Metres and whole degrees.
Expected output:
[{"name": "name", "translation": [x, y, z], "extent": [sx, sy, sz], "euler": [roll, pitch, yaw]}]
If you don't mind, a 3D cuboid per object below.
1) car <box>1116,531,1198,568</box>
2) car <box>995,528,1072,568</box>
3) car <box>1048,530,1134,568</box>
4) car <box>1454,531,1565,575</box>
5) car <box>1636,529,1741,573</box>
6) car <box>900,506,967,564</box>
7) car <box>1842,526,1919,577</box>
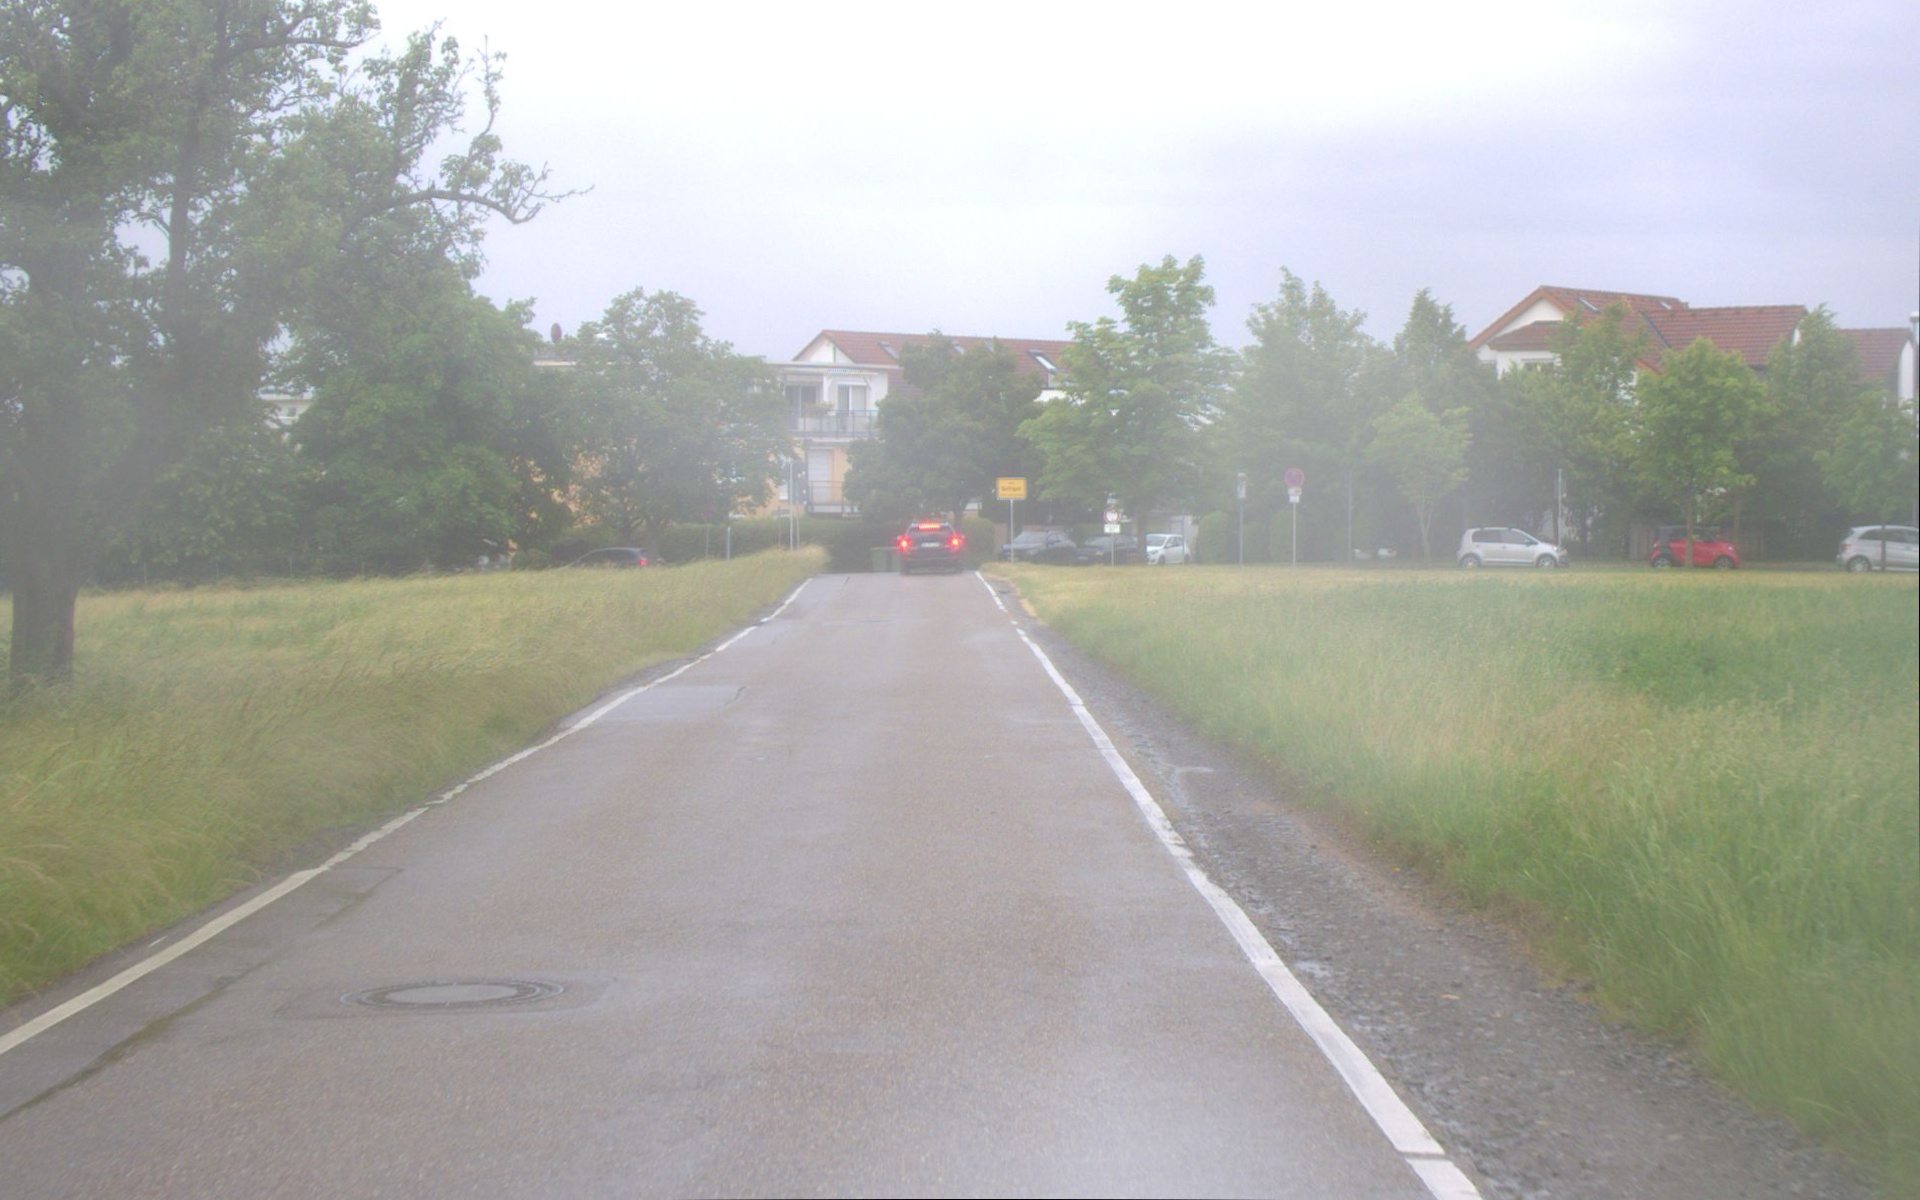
[{"name": "car", "translation": [8.456, -2.150, 147.309], "extent": [1.664, 1.541, 3.992], "euler": [0, 0, 35]}, {"name": "car", "translation": [2.961, -2.093, 138.538], "extent": [1.663, 1.541, 3.995], "euler": [0, 0, 24]}, {"name": "car", "translation": [5.471, -2.100, 143.032], "extent": [1.664, 1.541, 3.992], "euler": [0, 0, 35]}, {"name": "car", "translation": [17.521, -1.484, 109.628], "extent": [3.392, 1.366, 1.547], "euler": [0, 0, 13]}, {"name": "car", "translation": [22.924, -1.529, 108.178], "extent": [3.194, 1.366, 1.571], "euler": [0, 0, 13]}, {"name": "car", "translation": [-0.726, -1.819, 97.477], "extent": [1.814, 1.588, 4.000], "euler": [0, 0, 1]}, {"name": "car", "translation": [29.282, -1.507, 106.578], "extent": [3.711, 1.558, 1.609], "euler": [0, 0, 13]}]
